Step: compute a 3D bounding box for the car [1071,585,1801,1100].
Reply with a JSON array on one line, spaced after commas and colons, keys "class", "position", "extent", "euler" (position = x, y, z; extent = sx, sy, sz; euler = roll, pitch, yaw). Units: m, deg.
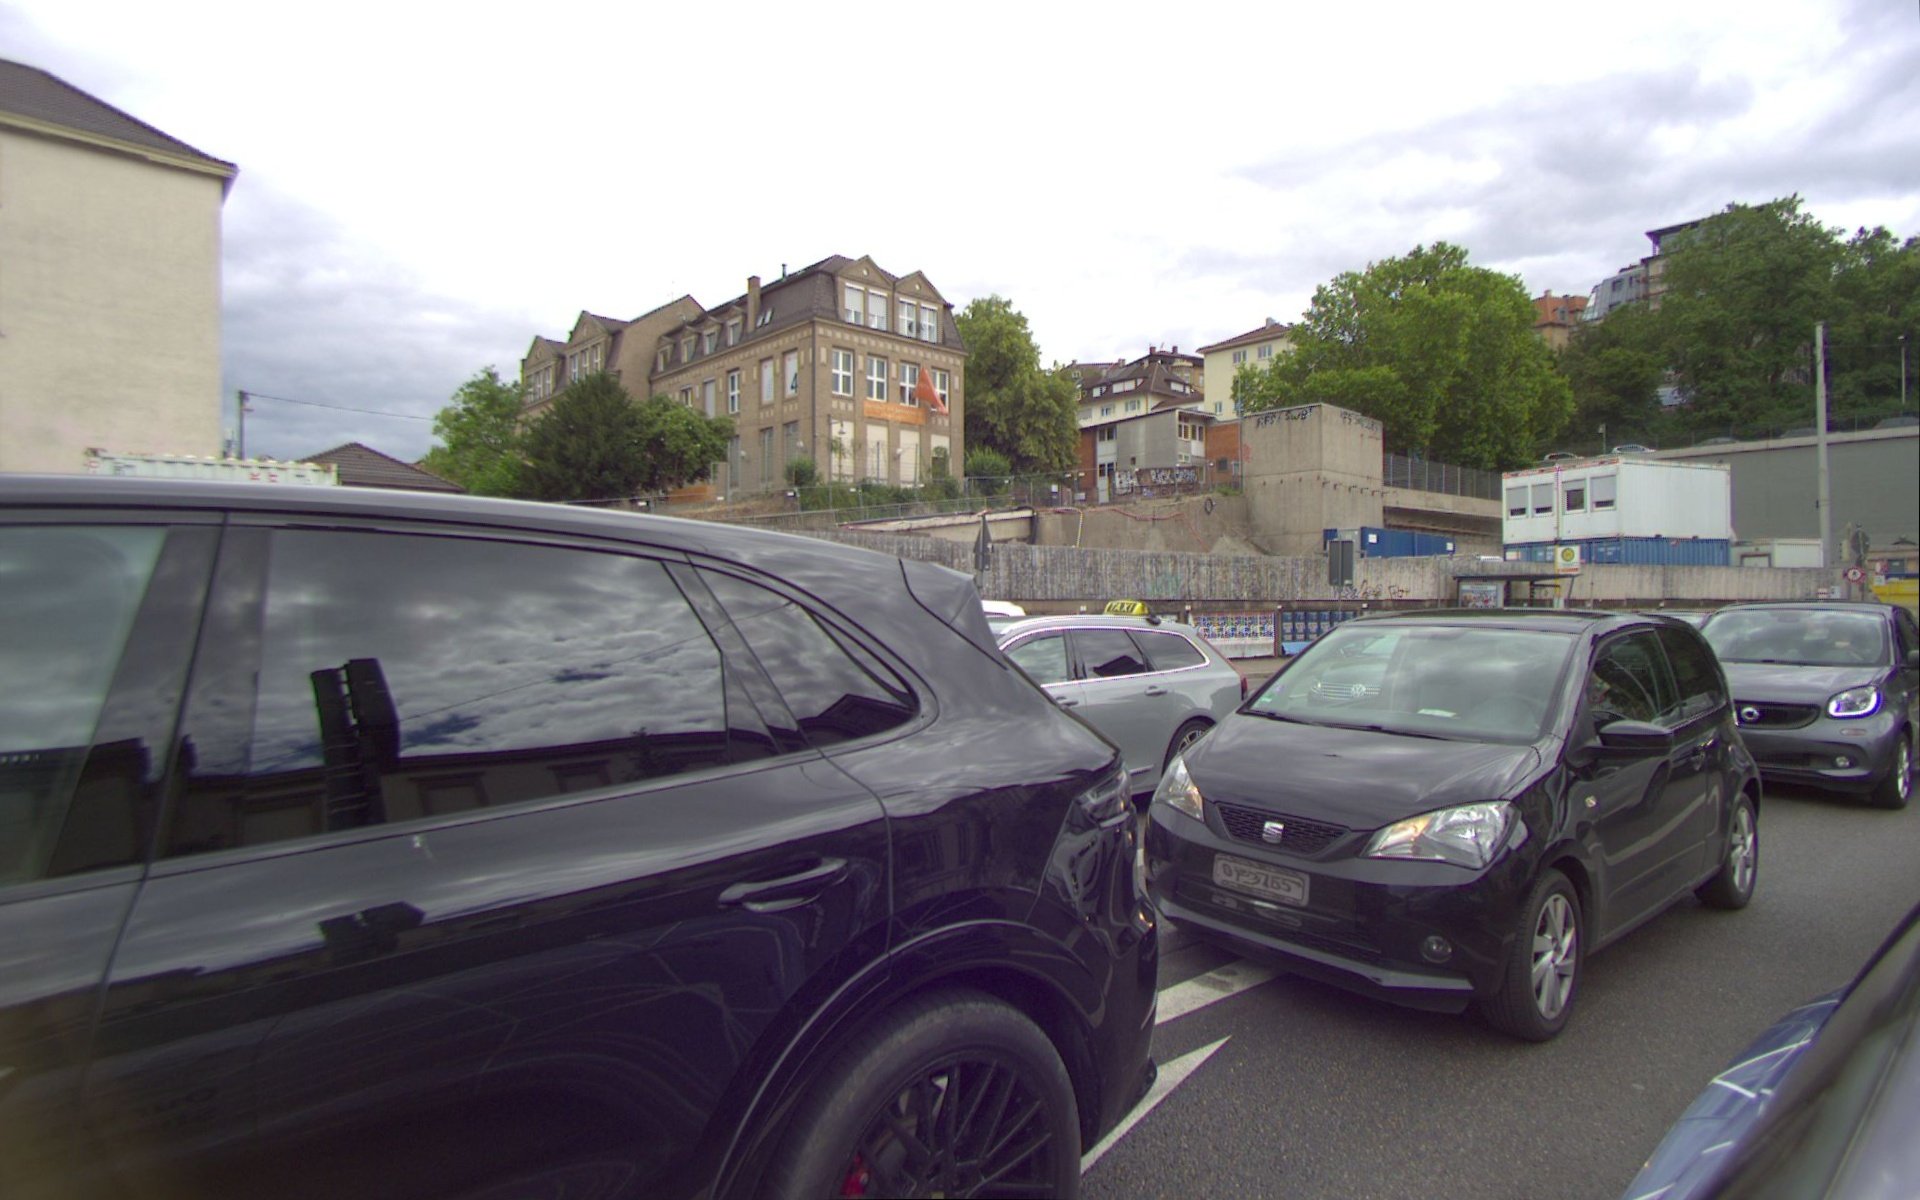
[{"class": "car", "position": [2.436, 0.677, 4.803], "extent": [3.636, 1.476, 1.827], "euler": [-1, 0, -41]}]

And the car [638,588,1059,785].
[{"class": "car", "position": [-1.008, 0.704, 10.490], "extent": [4.136, 1.645, 1.679], "euler": [-1, 0, -41]}]

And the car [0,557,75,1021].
[{"class": "car", "position": [-5.304, 0.686, 3.050], "extent": [3.930, 1.645, 1.679], "euler": [-1, 0, -41]}]

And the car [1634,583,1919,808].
[{"class": "car", "position": [7.457, 0.664, 8.827], "extent": [3.511, 1.563, 1.720], "euler": [0, 0, -40]}]

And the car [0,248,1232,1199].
[{"class": "car", "position": [-1.622, 0.519, 1.612], "extent": [4.406, 1.736, 1.827], "euler": [-1, 0, -41]}]

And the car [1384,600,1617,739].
[{"class": "car", "position": [6.603, 0.743, 12.319], "extent": [2.667, 1.449, 1.664], "euler": [-1, 0, -41]}]

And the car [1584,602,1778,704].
[{"class": "car", "position": [11.506, 0.746, 16.068], "extent": [3.740, 1.383, 1.679], "euler": [-1, 0, -41]}]

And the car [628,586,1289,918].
[{"class": "car", "position": [0.269, 0.729, 7.273], "extent": [4.725, 1.645, 1.827], "euler": [-1, 0, -41]}]
